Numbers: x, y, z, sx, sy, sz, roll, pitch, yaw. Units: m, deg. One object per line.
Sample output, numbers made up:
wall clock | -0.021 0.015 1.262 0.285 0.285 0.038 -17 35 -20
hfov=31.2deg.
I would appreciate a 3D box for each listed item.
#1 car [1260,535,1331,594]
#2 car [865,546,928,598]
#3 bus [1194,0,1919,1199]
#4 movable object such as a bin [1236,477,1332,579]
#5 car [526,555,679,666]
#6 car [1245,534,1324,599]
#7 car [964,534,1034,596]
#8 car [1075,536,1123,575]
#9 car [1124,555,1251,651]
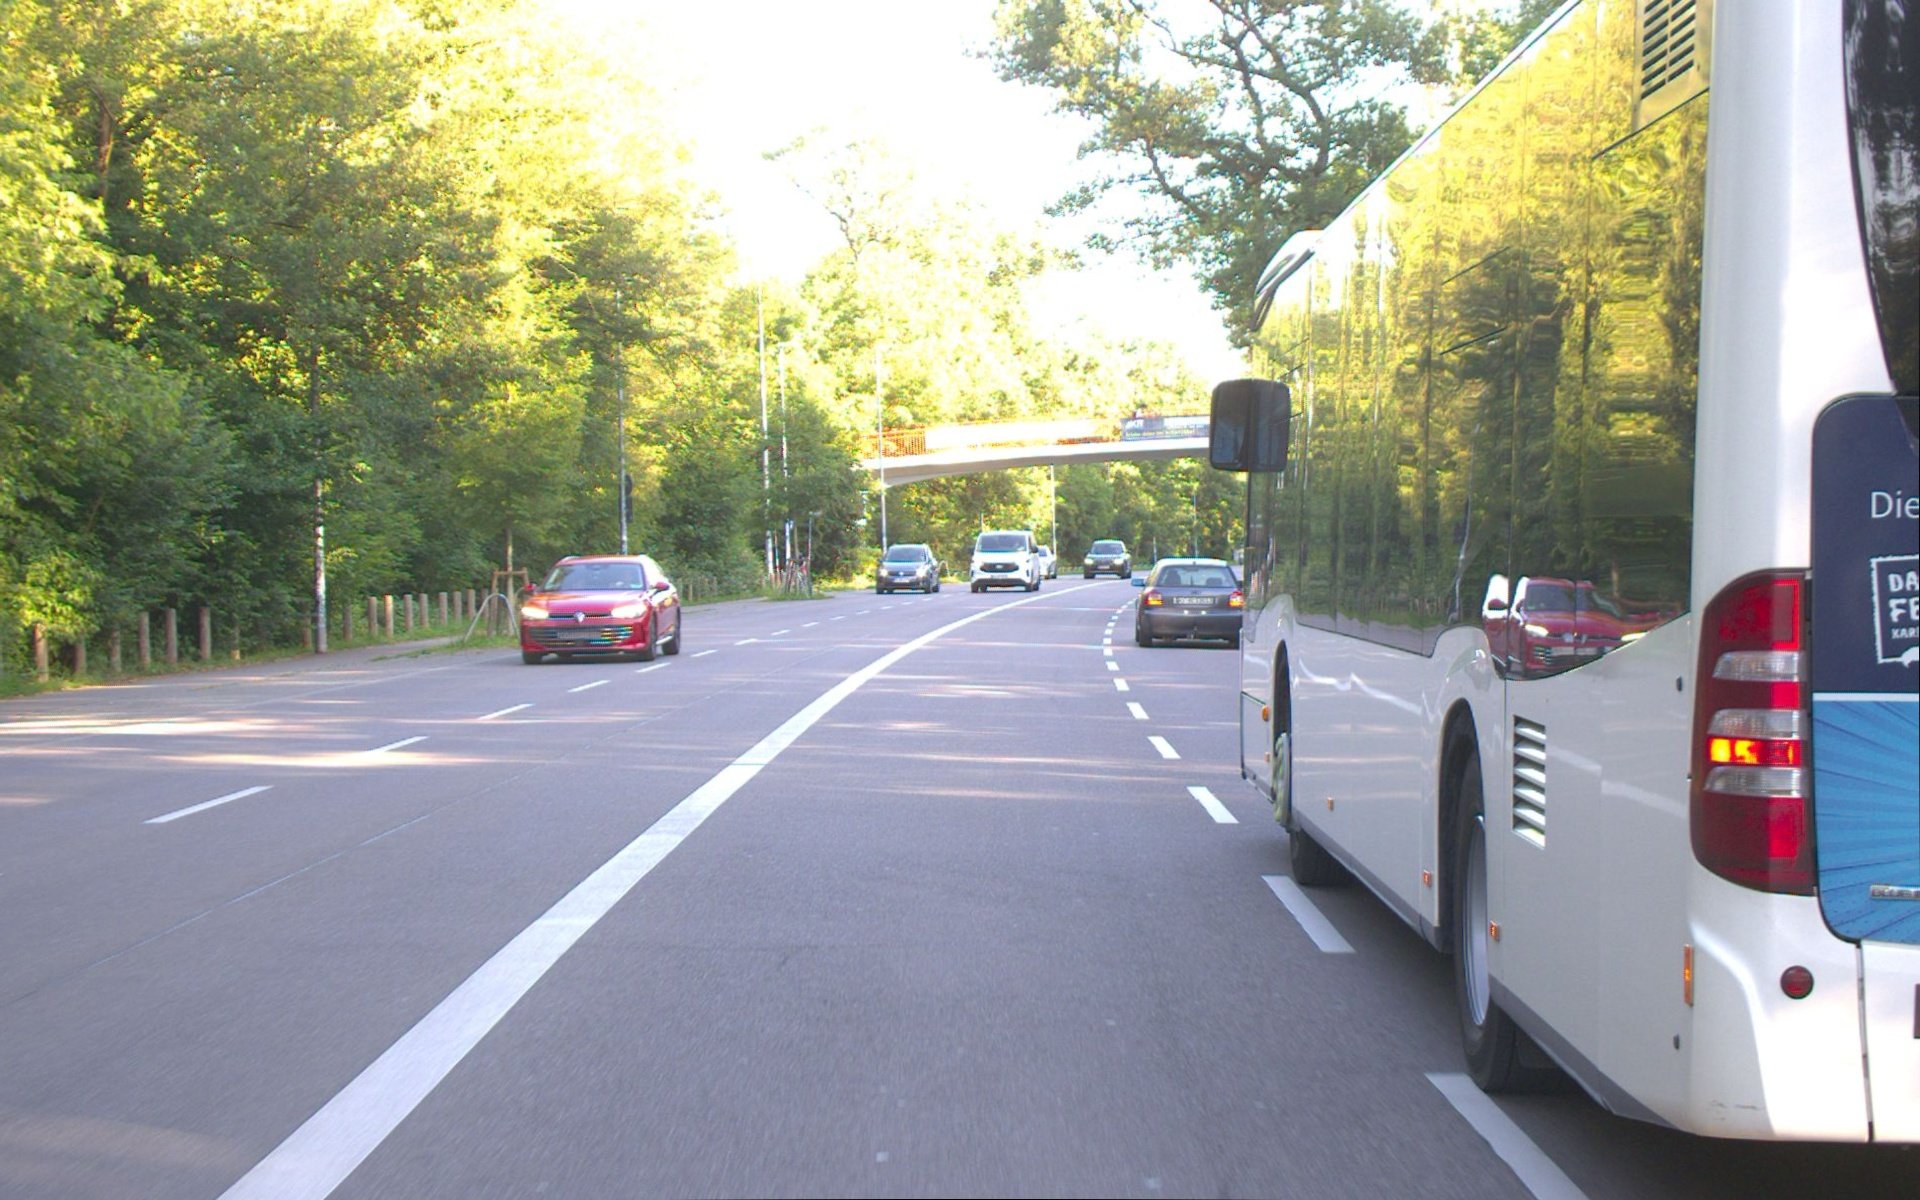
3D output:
car | 9.152 -0.979 93.946 1.728 1.536 4.089 -1 1 3
car | -2.029 -0.915 110.789 1.800 1.594 4.000 -1 1 2
bus | 2.610 -0.184 12.175 2.704 3.211 12.279 -1 1 0
movable object such as a bin | 11.069 -2.464 117.936 2.759 3.359 7.600 -1 1 2
car | -5.014 0.103 48.720 1.823 1.457 4.925 -1 1 -2
car | 7.836 -0.822 83.288 1.728 1.519 4.089 -1 1 3
car | 1.298 -1.149 111.749 2.206 1.954 4.913 -1 1 1
car | 6.210 -1.990 153.569 1.918 1.698 4.441 -1 1 5
car | 3.572 0.015 54.491 1.727 1.436 4.090 -1 1 0
